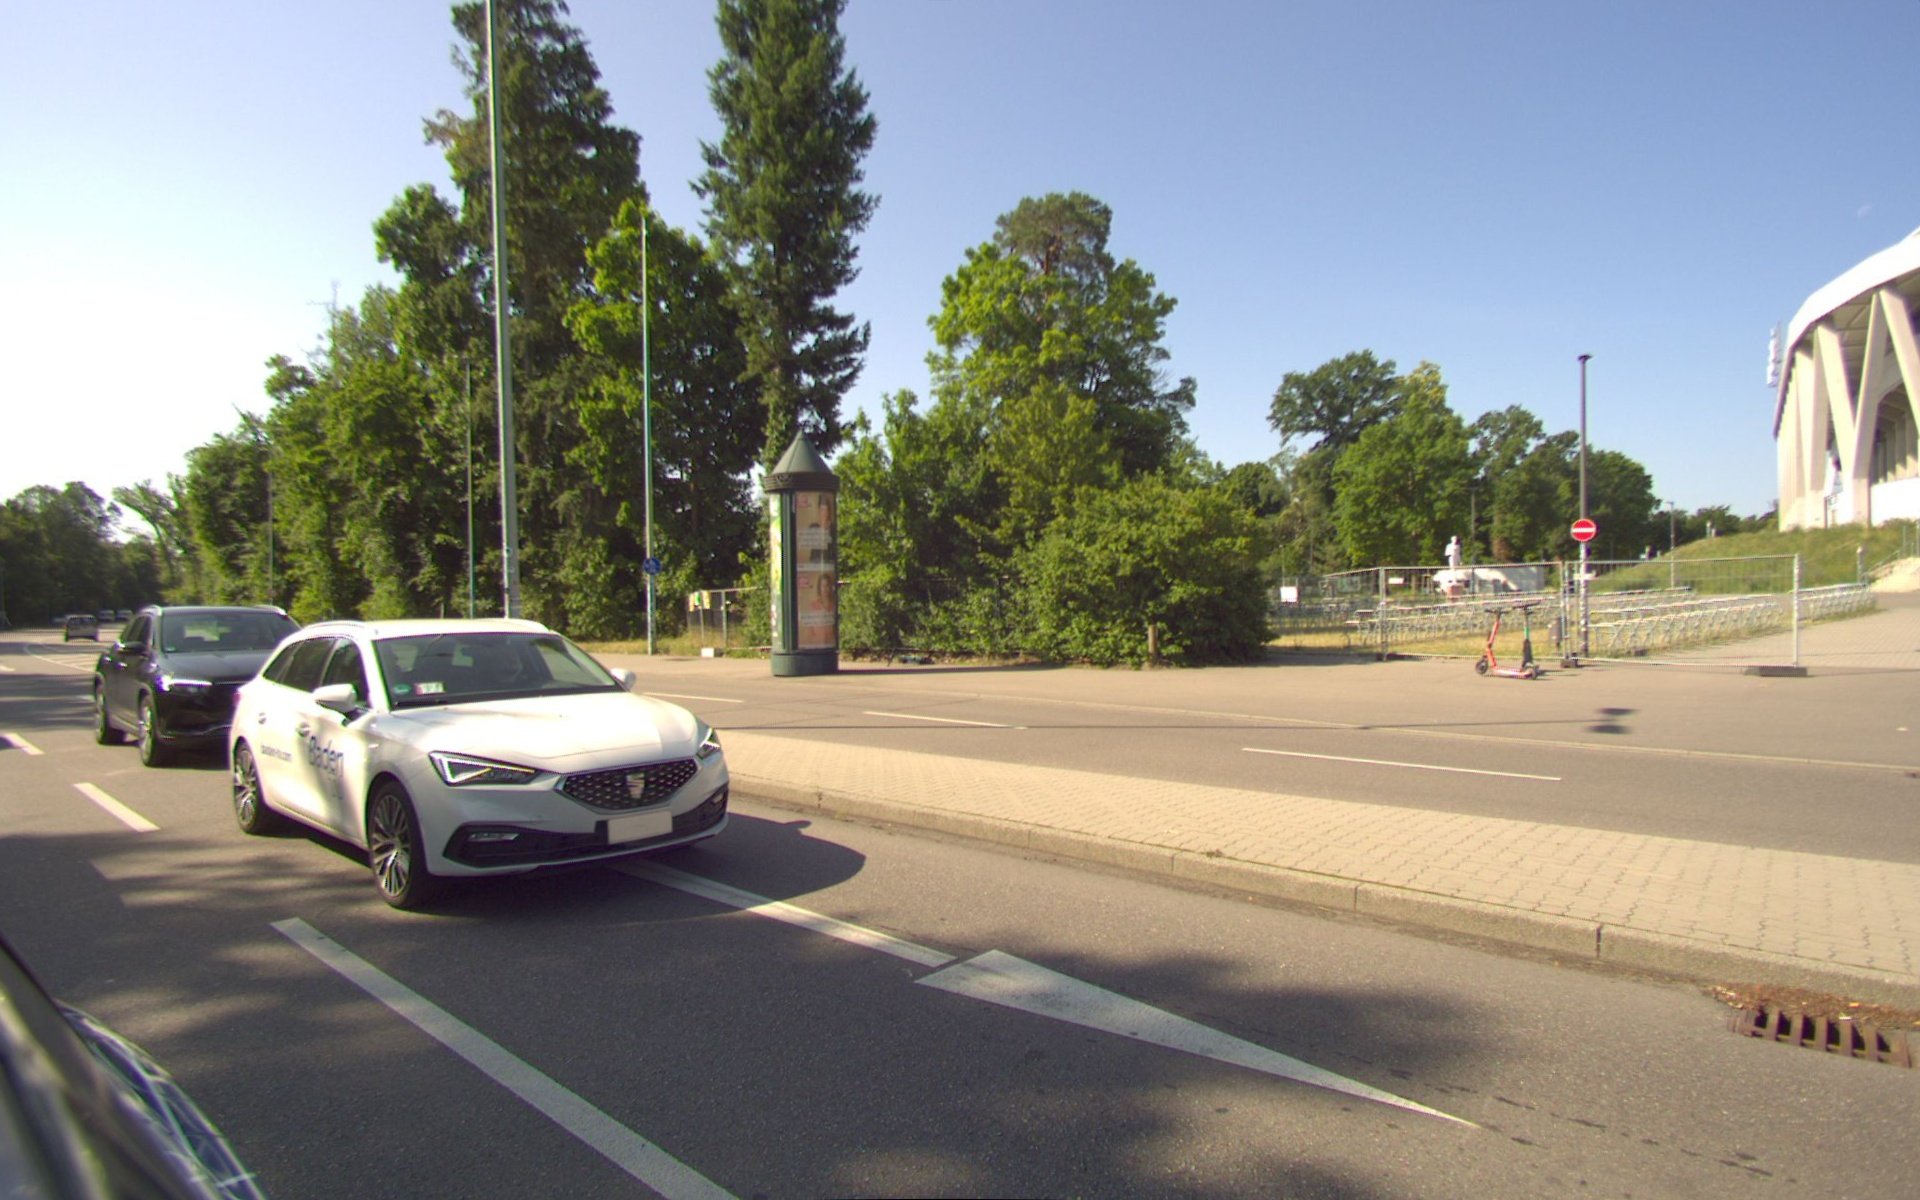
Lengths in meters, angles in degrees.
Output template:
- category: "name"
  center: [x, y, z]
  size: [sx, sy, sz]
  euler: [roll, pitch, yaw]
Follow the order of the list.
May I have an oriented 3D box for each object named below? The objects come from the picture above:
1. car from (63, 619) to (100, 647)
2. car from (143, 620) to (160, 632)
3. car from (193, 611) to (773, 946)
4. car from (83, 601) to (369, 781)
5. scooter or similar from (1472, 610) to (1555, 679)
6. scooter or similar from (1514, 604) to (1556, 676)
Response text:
- category: "car"
  center: [-63.195, 2.360, 72.802]
  size: [1.850, 1.874, 4.004]
  euler: [-1, 0, -43]
- category: "car"
  center: [-118.249, 3.838, 148.027]
  size: [1.828, 1.630, 4.008]
  euler: [-1, 0, -38]
- category: "car"
  center: [-3.367, 0.821, 6.581]
  size: [4.718, 1.437, 1.707]
  euler: [-1, -1, 42]
- category: "car"
  center: [-8.280, 0.882, 11.261]
  size: [4.273, 1.608, 1.785]
  euler: [-2, -1, 43]
- category: "scooter or similar"
  center: [9.642, 0.768, 17.656]
  size: [0.390, 1.154, 1.197]
  euler: [-1, 0, -44]
- category: "scooter or similar"
  center: [10.309, 0.701, 18.174]
  size: [0.392, 1.231, 1.076]
  euler: [-1, 0, 16]
